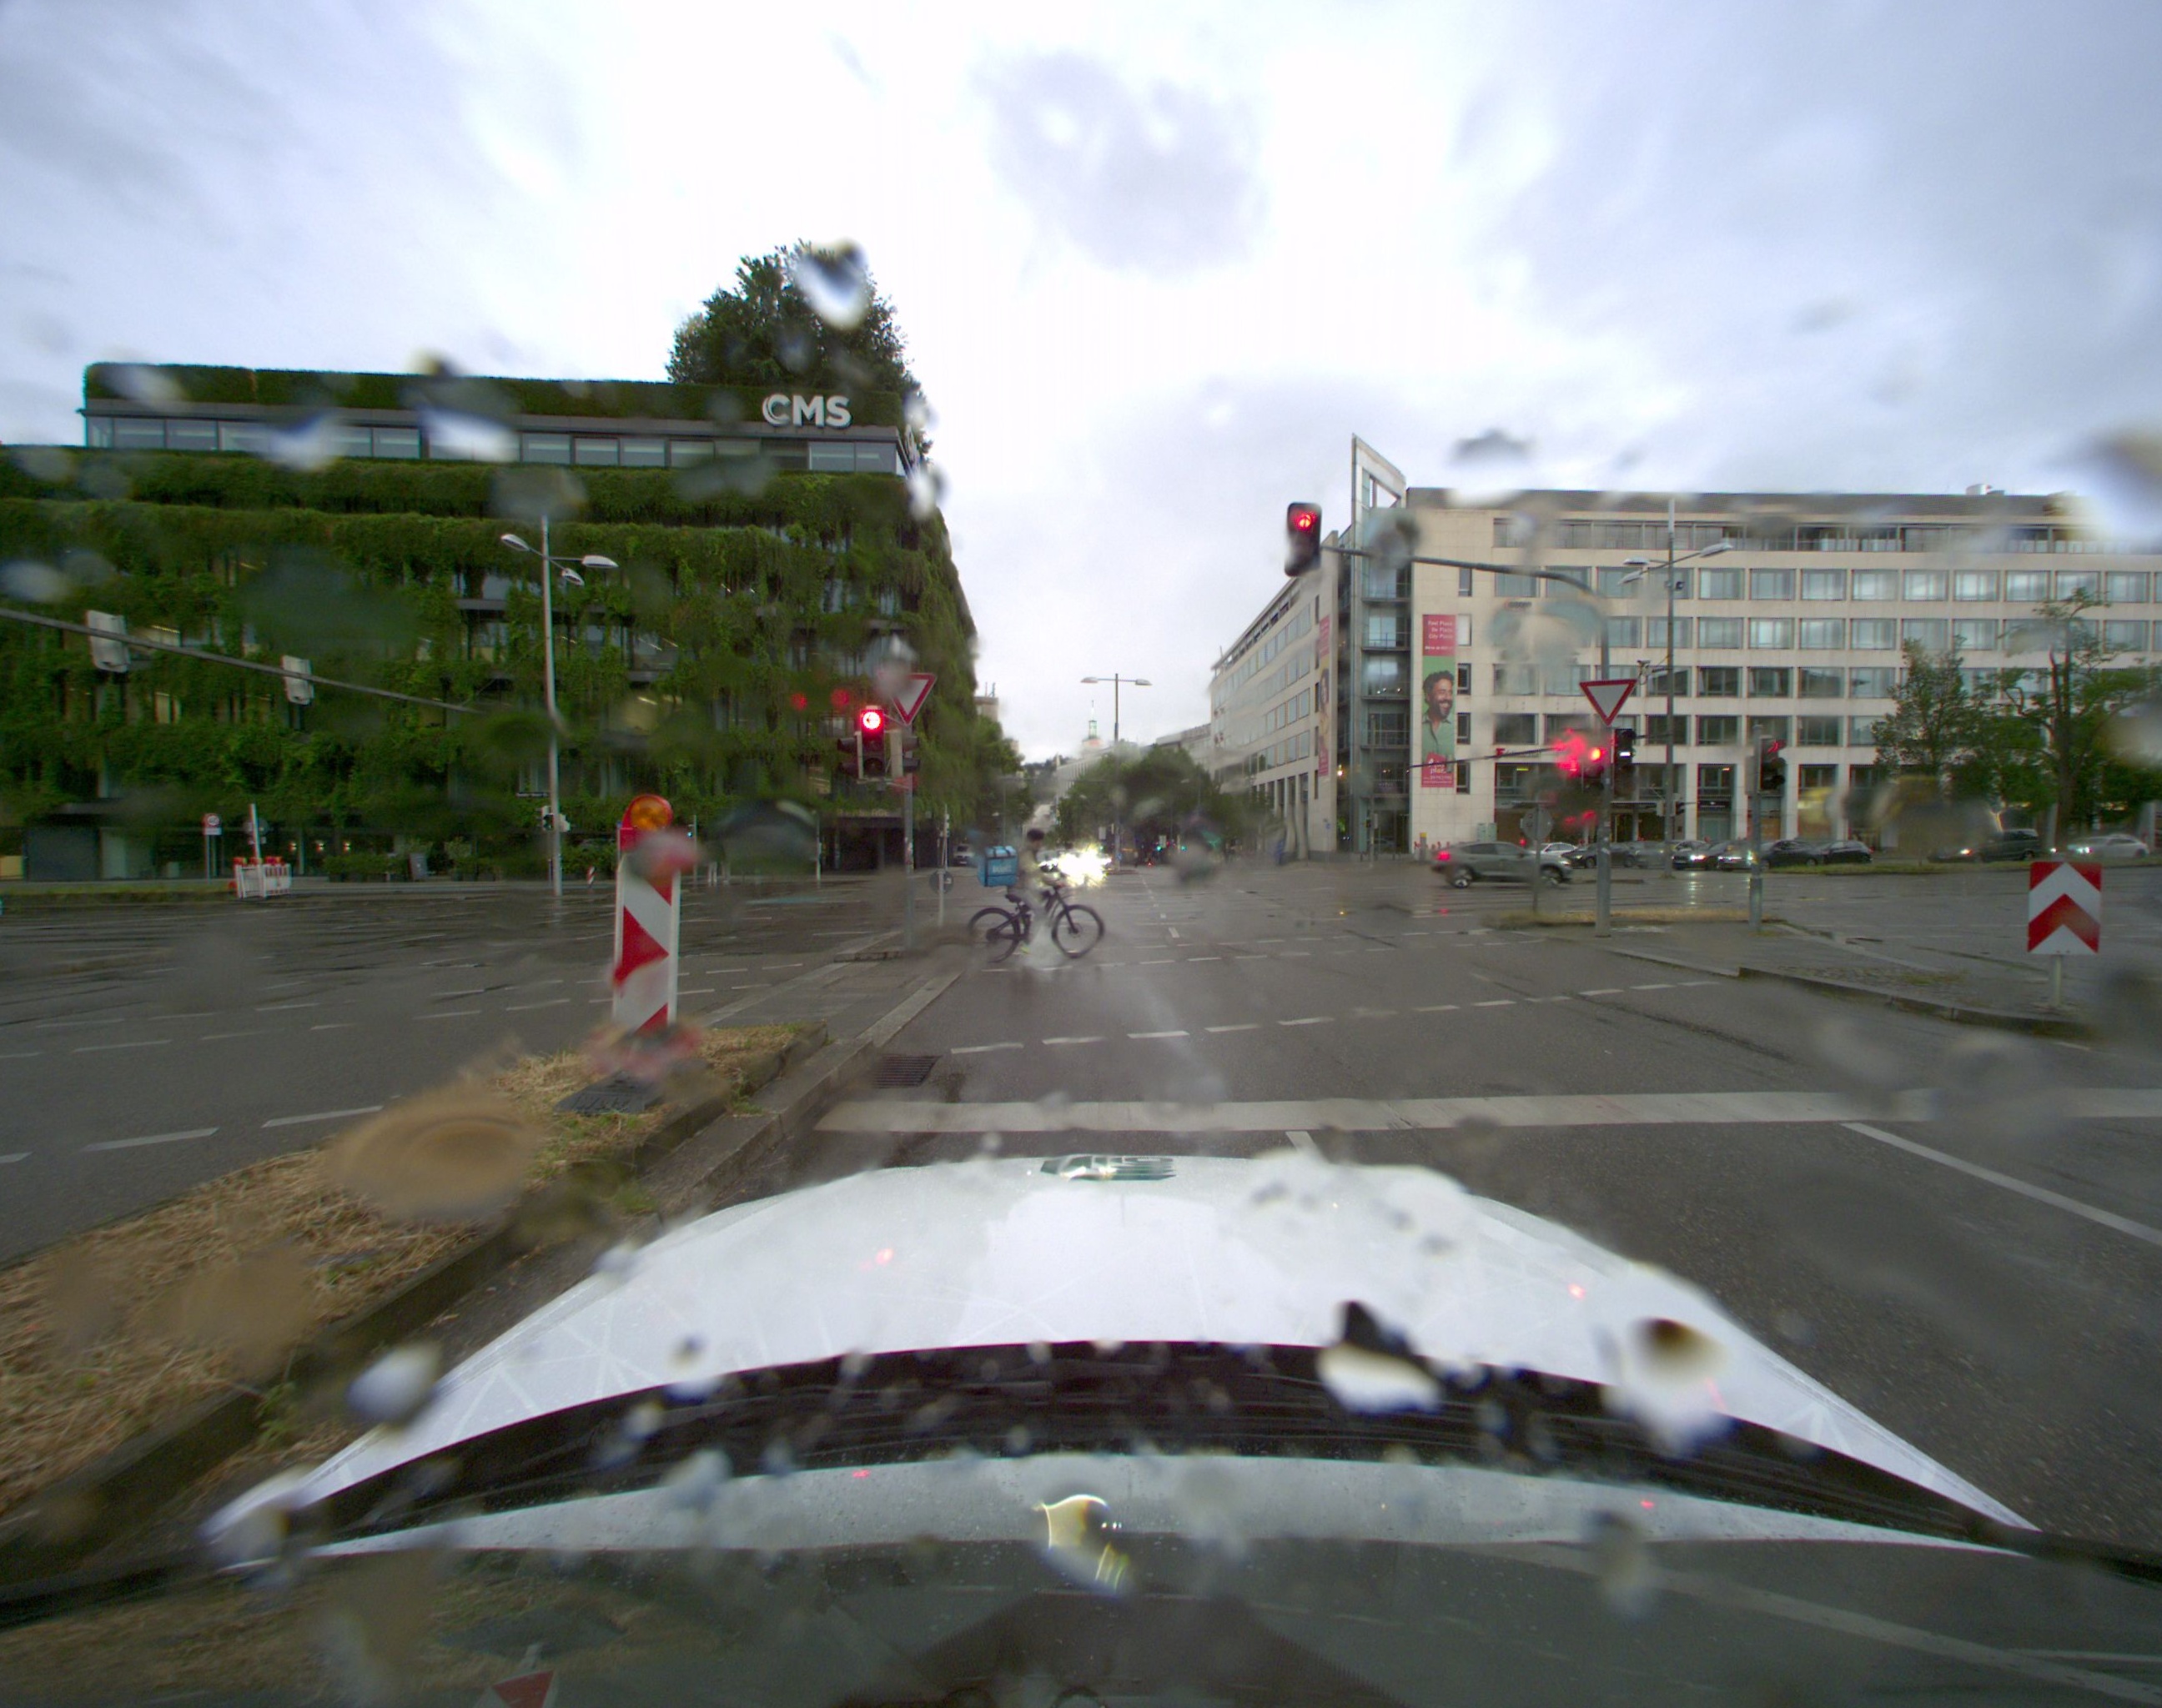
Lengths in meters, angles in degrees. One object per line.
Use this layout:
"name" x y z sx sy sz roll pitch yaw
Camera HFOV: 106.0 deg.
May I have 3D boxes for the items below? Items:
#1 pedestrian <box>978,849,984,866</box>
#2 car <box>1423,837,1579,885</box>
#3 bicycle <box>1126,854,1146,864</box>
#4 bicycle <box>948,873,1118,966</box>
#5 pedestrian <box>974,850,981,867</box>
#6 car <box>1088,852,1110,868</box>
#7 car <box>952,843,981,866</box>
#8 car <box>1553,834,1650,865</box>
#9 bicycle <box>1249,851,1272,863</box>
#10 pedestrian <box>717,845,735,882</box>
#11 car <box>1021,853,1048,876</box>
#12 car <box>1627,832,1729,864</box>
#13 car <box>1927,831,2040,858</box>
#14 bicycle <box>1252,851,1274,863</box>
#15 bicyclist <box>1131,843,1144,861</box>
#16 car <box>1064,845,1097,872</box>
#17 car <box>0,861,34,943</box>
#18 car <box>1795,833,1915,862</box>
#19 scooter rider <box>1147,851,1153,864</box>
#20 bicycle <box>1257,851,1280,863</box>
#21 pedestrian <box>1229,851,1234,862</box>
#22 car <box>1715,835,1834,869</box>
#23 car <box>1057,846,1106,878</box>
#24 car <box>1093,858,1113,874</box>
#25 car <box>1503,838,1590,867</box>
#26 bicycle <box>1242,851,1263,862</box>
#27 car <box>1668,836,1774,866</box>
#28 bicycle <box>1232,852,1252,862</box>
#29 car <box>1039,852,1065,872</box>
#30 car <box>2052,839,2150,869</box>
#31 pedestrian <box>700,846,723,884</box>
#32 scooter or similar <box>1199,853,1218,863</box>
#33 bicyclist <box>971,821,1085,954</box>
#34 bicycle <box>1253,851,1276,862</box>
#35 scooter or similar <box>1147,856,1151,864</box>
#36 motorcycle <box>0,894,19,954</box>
"pedestrian" -9.266 0.308 75.292 0.435 1.524 0.547 -1 0 -3
"car" 14.300 0.249 28.047 4.504 1.550 2.010 -1 0 18
"bicycle" 5.862 0.516 86.647 0.798 1.117 2.229 -1 0 -39
"bicycle" -0.646 0.848 11.133 2.157 1.103 0.841 -1 0 -27
"pedestrian" -9.540 0.429 75.137 0.605 1.524 0.587 -1 0 -3
"car" 1.680 0.564 77.799 1.988 1.443 4.554 -1 0 -1
"car" -9.689 0.012 69.086 1.989 1.895 4.461 -1 0 -2
"car" 29.223 -0.255 45.752 4.451 1.598 1.993 -1 0 -10
"bicycle" 14.202 0.228 64.415 1.778 0.934 0.478 -1 0 43
"pedestrian" -17.209 0.462 39.516 0.744 1.758 0.969 -1 0 -22
"car" -3.291 0.706 58.296 1.852 1.448 4.616 -1 1 -3
"car" 31.690 -0.303 43.275 4.455 1.598 1.991 -1 0 -13
"car" 47.460 -0.487 42.854 4.637 1.348 1.920 -1 0 -11
"bicycle" 14.922 0.253 66.752 1.778 0.934 0.478 -1 0 43
"bicyclist" 5.988 -0.206 86.457 0.798 1.975 1.101 -1 0 -39
"car" -0.104 0.276 55.750 1.960 1.655 4.359 -1 1 -4
"car" -27.127 1.157 18.594 3.451 1.922 1.992 -1 0 -11
"car" 37.800 -0.331 39.798 4.637 1.348 1.920 -1 0 -11
"scooter rider" 9.268 0.447 109.303 0.758 1.774 0.797 -1 0 6
"bicycle" 14.991 0.212 65.038 1.778 0.934 0.478 -1 0 43
"pedestrian" 15.810 0.265 85.699 0.353 1.173 0.413 -1 0 -13
"car" 31.152 -0.103 36.607 4.452 1.464 1.716 -1 0 -11
"car" -0.047 0.384 43.758 1.992 1.486 4.452 -2 2 -8
"car" 2.415 1.284 90.769 1.988 1.529 4.553 -1 1 -1
"car" 28.074 -0.097 49.146 4.456 1.598 1.991 -1 0 -14
"bicycle" 14.984 0.248 71.082 1.786 0.934 0.476 -1 0 4
"car" 31.242 -0.166 39.785 4.455 1.348 1.715 -1 0 -13
"bicycle" 14.416 0.259 72.945 1.786 0.934 0.476 -1 0 4
"car" -2.361 0.622 64.903 1.853 1.448 4.614 -1 1 -4
"car" 59.439 -0.041 47.489 4.180 1.623 1.727 -1 2 -8
"pedestrian" -17.819 0.513 39.291 0.939 1.758 1.163 -1 0 -22
"scooter or similar" 12.543 0.381 80.048 1.750 0.878 0.486 -1 0 -18
"bicyclist" -0.724 0.420 11.129 1.302 1.704 0.840 -1 0 -29
"bicycle" 14.860 0.216 66.008 1.778 0.934 0.478 -1 0 43
"scooter or similar" 9.130 0.824 109.404 0.553 1.007 1.827 -1 0 7
"motorcycle" -23.495 1.480 16.568 2.231 1.210 0.844 -1 0 -15
